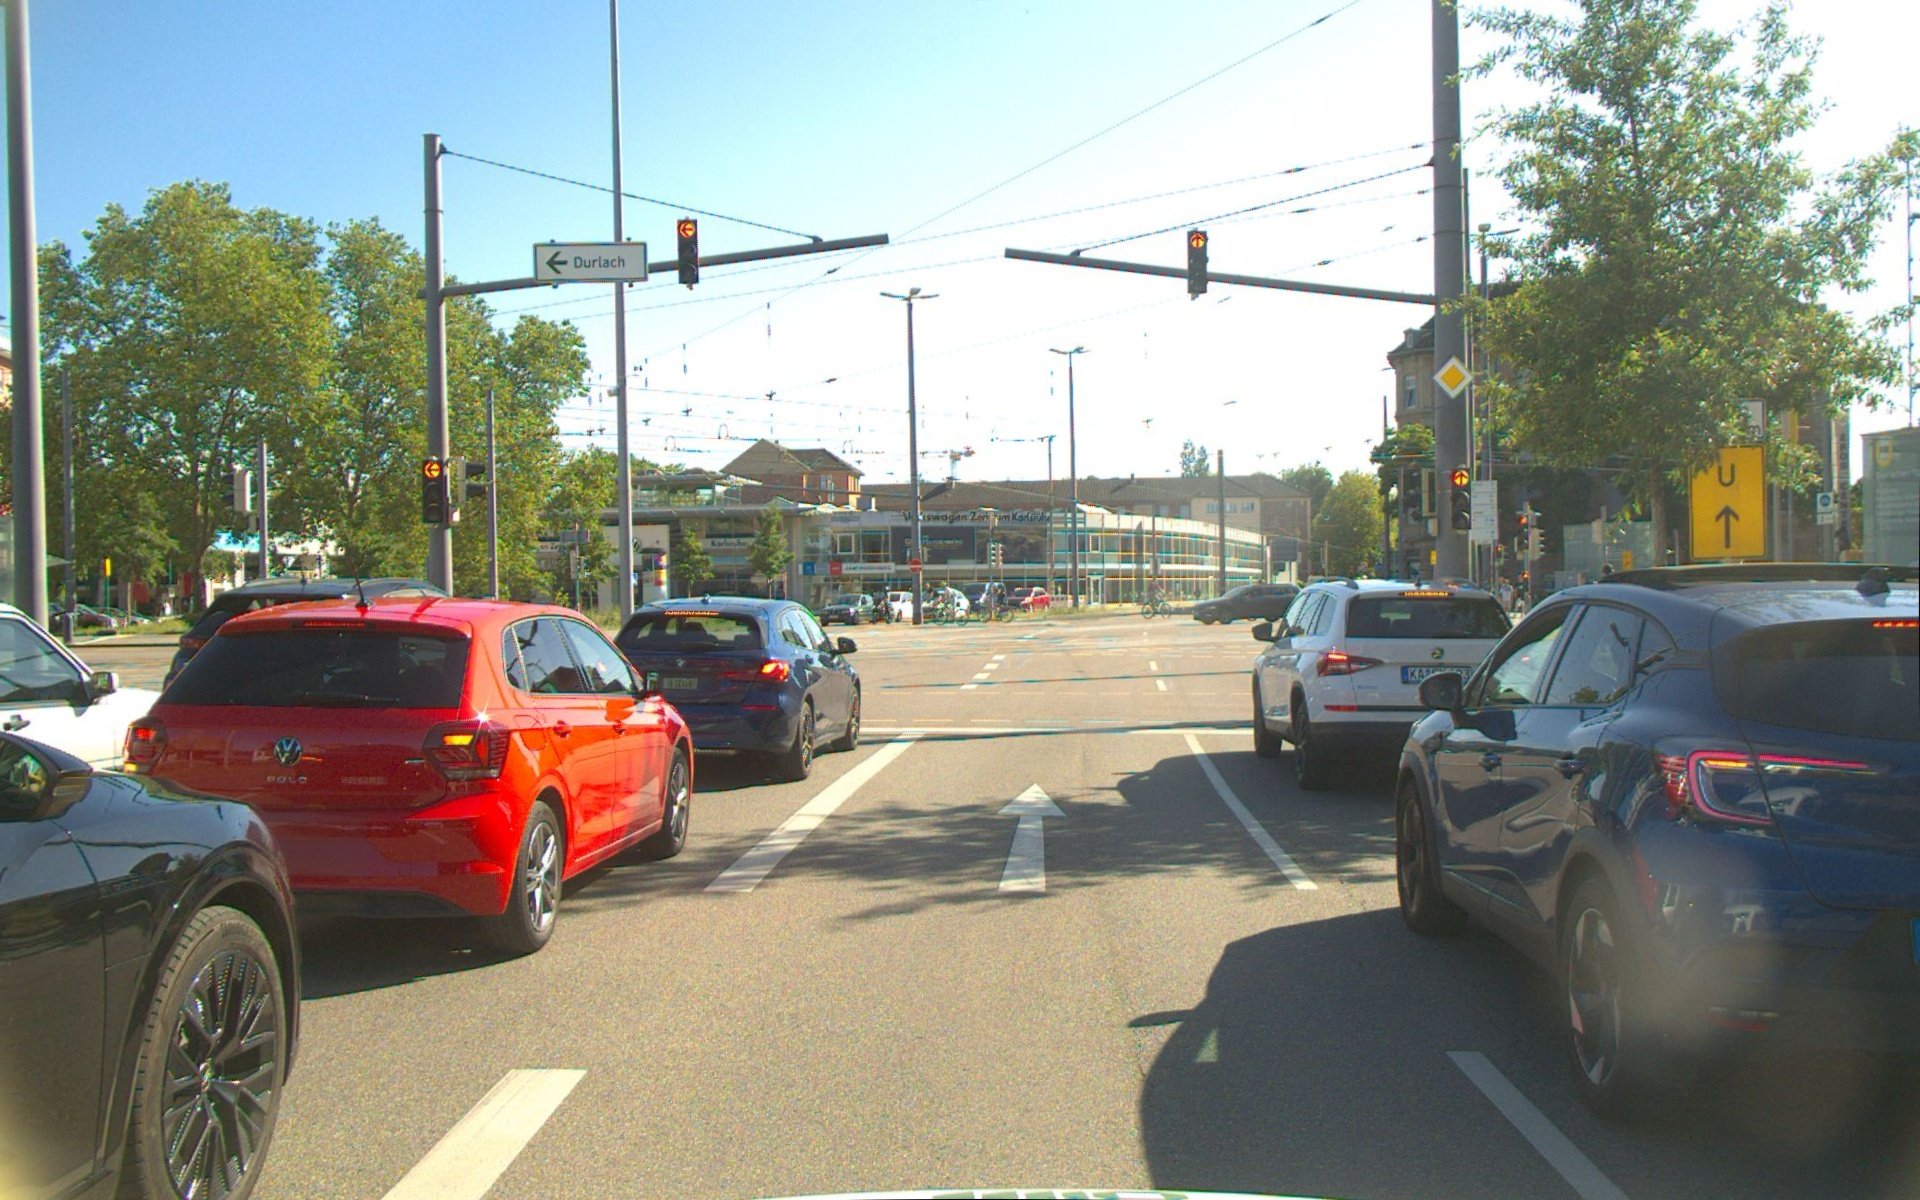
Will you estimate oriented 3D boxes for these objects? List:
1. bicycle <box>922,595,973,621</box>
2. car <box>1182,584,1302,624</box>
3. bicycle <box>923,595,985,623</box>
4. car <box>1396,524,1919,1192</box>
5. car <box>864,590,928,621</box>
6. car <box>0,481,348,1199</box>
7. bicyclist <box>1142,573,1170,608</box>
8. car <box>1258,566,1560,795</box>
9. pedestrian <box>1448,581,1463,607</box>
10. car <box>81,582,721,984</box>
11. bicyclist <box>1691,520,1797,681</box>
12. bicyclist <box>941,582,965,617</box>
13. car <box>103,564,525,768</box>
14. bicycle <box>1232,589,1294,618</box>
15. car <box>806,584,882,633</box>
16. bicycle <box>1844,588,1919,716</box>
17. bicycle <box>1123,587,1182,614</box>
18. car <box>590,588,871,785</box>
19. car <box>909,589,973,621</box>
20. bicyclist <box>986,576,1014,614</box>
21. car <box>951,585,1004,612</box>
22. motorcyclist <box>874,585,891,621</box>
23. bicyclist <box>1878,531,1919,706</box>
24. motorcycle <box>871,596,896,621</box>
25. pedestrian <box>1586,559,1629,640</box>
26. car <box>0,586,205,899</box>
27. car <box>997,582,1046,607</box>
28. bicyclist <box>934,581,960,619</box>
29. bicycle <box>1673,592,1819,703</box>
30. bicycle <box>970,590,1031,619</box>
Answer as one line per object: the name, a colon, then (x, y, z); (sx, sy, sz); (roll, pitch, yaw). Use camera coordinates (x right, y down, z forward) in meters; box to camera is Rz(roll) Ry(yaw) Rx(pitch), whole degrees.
bicycle: (-0.547, 0.342, 72.034); (2.141, 1.114, 0.756); (-1, 0, -14)
car: (10.989, 0.157, 64.420); (4.290, 1.467, 1.723); (1, 0, -17)
bicycle: (-0.253, 0.377, 69.520); (2.590, 1.114, 0.968); (-1, 0, -2)
car: (2.881, 0.646, 5.964); (1.837, 1.646, 3.799); (0, 0, 4)
car: (-3.152, 0.246, 82.605); (1.689, 1.468, 4.185); (-1, 0, 21)
car: (-2.547, 0.625, 2.096); (1.943, 1.652, 4.377); (0, 0, -1)
bicyclist: (9.277, -0.440, 78.338); (1.045, 1.611, 0.944); (-1, 2, -14)
car: (3.587, 0.582, 13.855); (1.837, 1.646, 3.627); (1, 0, 5)
pedestrian: (27.718, -0.335, 92.480); (0.586, 1.434, 0.800); (0, 2, -3)
car: (-2.382, 0.674, 8.087); (1.636, 1.467, 3.723); (1, 0, 4)
bicyclist: (8.986, 0.001, 18.983); (0.705, 1.793, 0.977); (-1, 0, -2)
bicyclist: (-0.303, -0.024, 69.522); (0.942, 1.474, 0.968); (-1, 0, -2)
car: (-5.316, 0.478, 14.219); (1.688, 1.467, 3.913); (1, 0, 7)
bicycle: (13.412, 0.136, 73.214); (2.610, 1.209, 0.941); (-1, 2, -23)
car: (-5.318, 0.365, 76.442); (1.953, 2.048, 4.001); (1, 3, 22)
bicycle: (9.331, 0.488, 15.709); (0.702, 1.185, 1.868); (-1, 1, -6)
bicycle: (9.109, 0.034, 78.322); (2.602, 1.209, 0.944); (-1, 2, -15)
car: (-1.869, 0.650, 14.578); (1.689, 1.467, 3.800); (1, 0, 4)
car: (-0.899, 0.221, 80.306); (1.689, 1.468, 4.185); (-1, 0, 21)
bicyclist: (1.791, -0.222, 73.564); (1.045, 1.611, 0.944); (-1, 2, -14)
car: (1.031, -0.058, 94.465); (1.689, 1.467, 4.184); (1, 0, 21)
motorcyclist: (-3.522, 0.127, 75.631); (0.538, 1.649, 0.745); (-1, 0, 17)
bicyclist: (9.333, 0.166, 15.632); (0.706, 1.645, 0.976); (-1, 0, -6)
motorcycle: (-3.509, 0.403, 75.673); (0.550, 1.113, 1.837); (-1, 0, 17)
pedestrian: (14.142, 0.002, 36.127); (0.585, 1.753, 0.866); (-2, -3, 41)
car: (-5.338, 0.669, 7.823); (1.689, 1.468, 3.800); (0, 0, 2)
car: (3.799, -0.338, 101.294); (1.689, 1.467, 4.184); (1, 0, 21)
bicyclist: (-0.559, -0.016, 72.027); (0.969, 1.632, 0.756); (-1, 0, -14)
bicycle: (8.995, 0.519, 19.002); (0.731, 1.185, 1.870); (-1, 1, -2)
bicycle: (1.796, 0.187, 73.564); (2.602, 1.209, 0.944); (-1, 2, -15)
